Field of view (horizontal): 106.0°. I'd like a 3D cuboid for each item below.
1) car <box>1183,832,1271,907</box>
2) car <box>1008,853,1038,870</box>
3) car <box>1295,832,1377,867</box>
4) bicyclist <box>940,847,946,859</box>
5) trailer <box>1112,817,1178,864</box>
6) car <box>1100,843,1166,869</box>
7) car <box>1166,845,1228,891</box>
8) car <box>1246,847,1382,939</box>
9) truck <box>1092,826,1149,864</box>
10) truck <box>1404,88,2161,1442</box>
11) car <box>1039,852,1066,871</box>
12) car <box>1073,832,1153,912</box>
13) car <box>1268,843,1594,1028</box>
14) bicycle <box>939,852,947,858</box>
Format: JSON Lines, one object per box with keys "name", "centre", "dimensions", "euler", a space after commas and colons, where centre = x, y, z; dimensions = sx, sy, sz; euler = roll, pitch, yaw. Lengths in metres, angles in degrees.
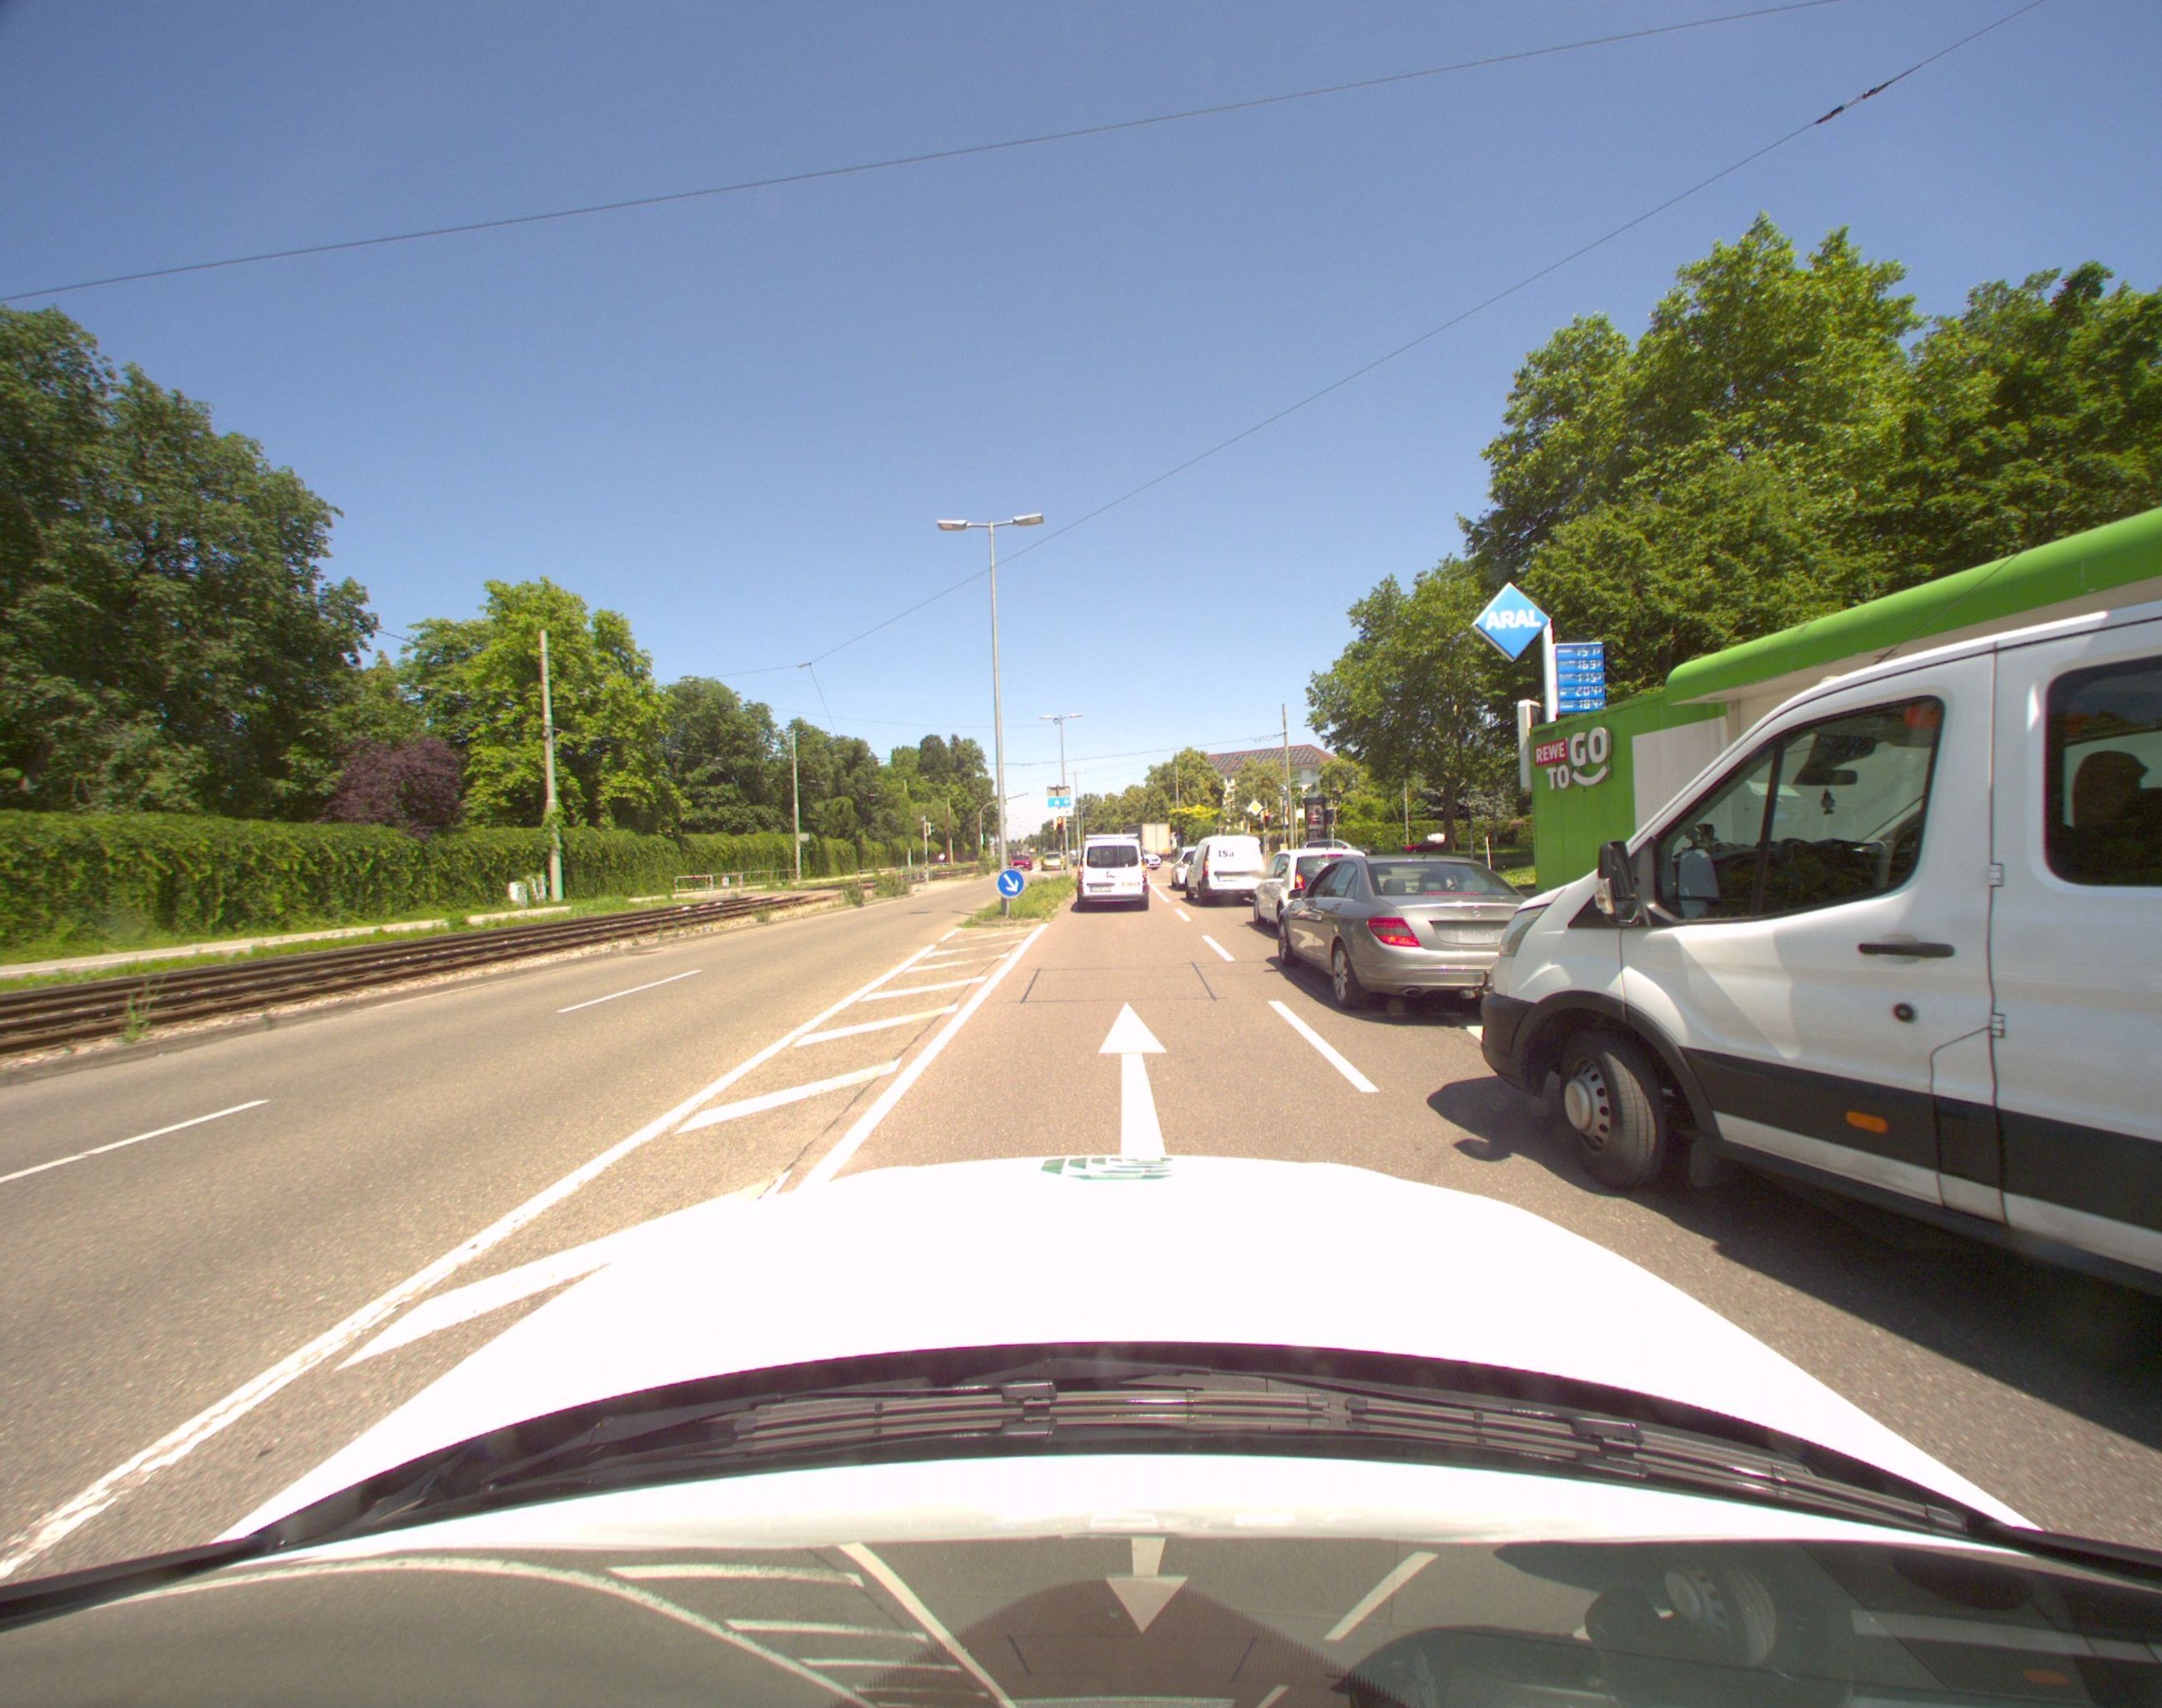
{"name": "car", "centre": [3.819, 0.363, 21.918], "dimensions": [1.704, 1.830, 4.014], "euler": [0, 0, 1]}
{"name": "car", "centre": [-5.018, 0.602, 70.979], "dimensions": [1.976, 1.358, 4.542], "euler": [-2, 0, 3]}
{"name": "car", "centre": [14.987, -0.252, 47.977], "dimensions": [4.489, 1.829, 2.009], "euler": [-2, 0, 17]}
{"name": "bicyclist", "centre": [-17.366, -0.145, 102.339], "dimensions": [0.555, 1.478, 0.562], "euler": [-2, 0, 2]}
{"name": "trailer", "centre": [5.869, -1.163, 76.411], "dimensions": [3.532, 4.050, 8.936], "euler": [-2, 0, -13]}
{"name": "car", "centre": [3.510, 0.132, 55.526], "dimensions": [2.010, 1.617, 4.404], "euler": [-2, 0, -39]}
{"name": "car", "centre": [4.141, 0.451, 29.638], "dimensions": [1.749, 1.486, 4.002], "euler": [-2, 0, 2]}
{"name": "car", "centre": [4.055, 0.613, 14.701], "dimensions": [1.600, 1.451, 3.523], "euler": [-1, 0, 3]}
{"name": "truck", "centre": [3.983, -0.903, 85.025], "dimensions": [3.581, 3.632, 8.768], "euler": [-2, 0, -13]}
{"name": "truck", "centre": [4.234, -0.247, 1.283], "dimensions": [2.426, 3.391, 7.785], "euler": [-2, 0, -18]}
{"name": "car", "centre": [-2.358, 0.600, 65.804], "dimensions": [1.540, 1.379, 3.987], "euler": [-2, 0, -11]}
{"name": "car", "centre": [0.792, 0.417, 21.127], "dimensions": [1.860, 1.836, 3.849], "euler": [-1, 0, 1]}
{"name": "car", "centre": [3.352, 0.653, 8.842], "dimensions": [1.788, 1.449, 4.421], "euler": [-2, 0, 3]}
{"name": "bicycle", "centre": [-17.359, 0.097, 102.374], "dimensions": [0.559, 0.647, 1.721], "euler": [-2, 0, 3]}
